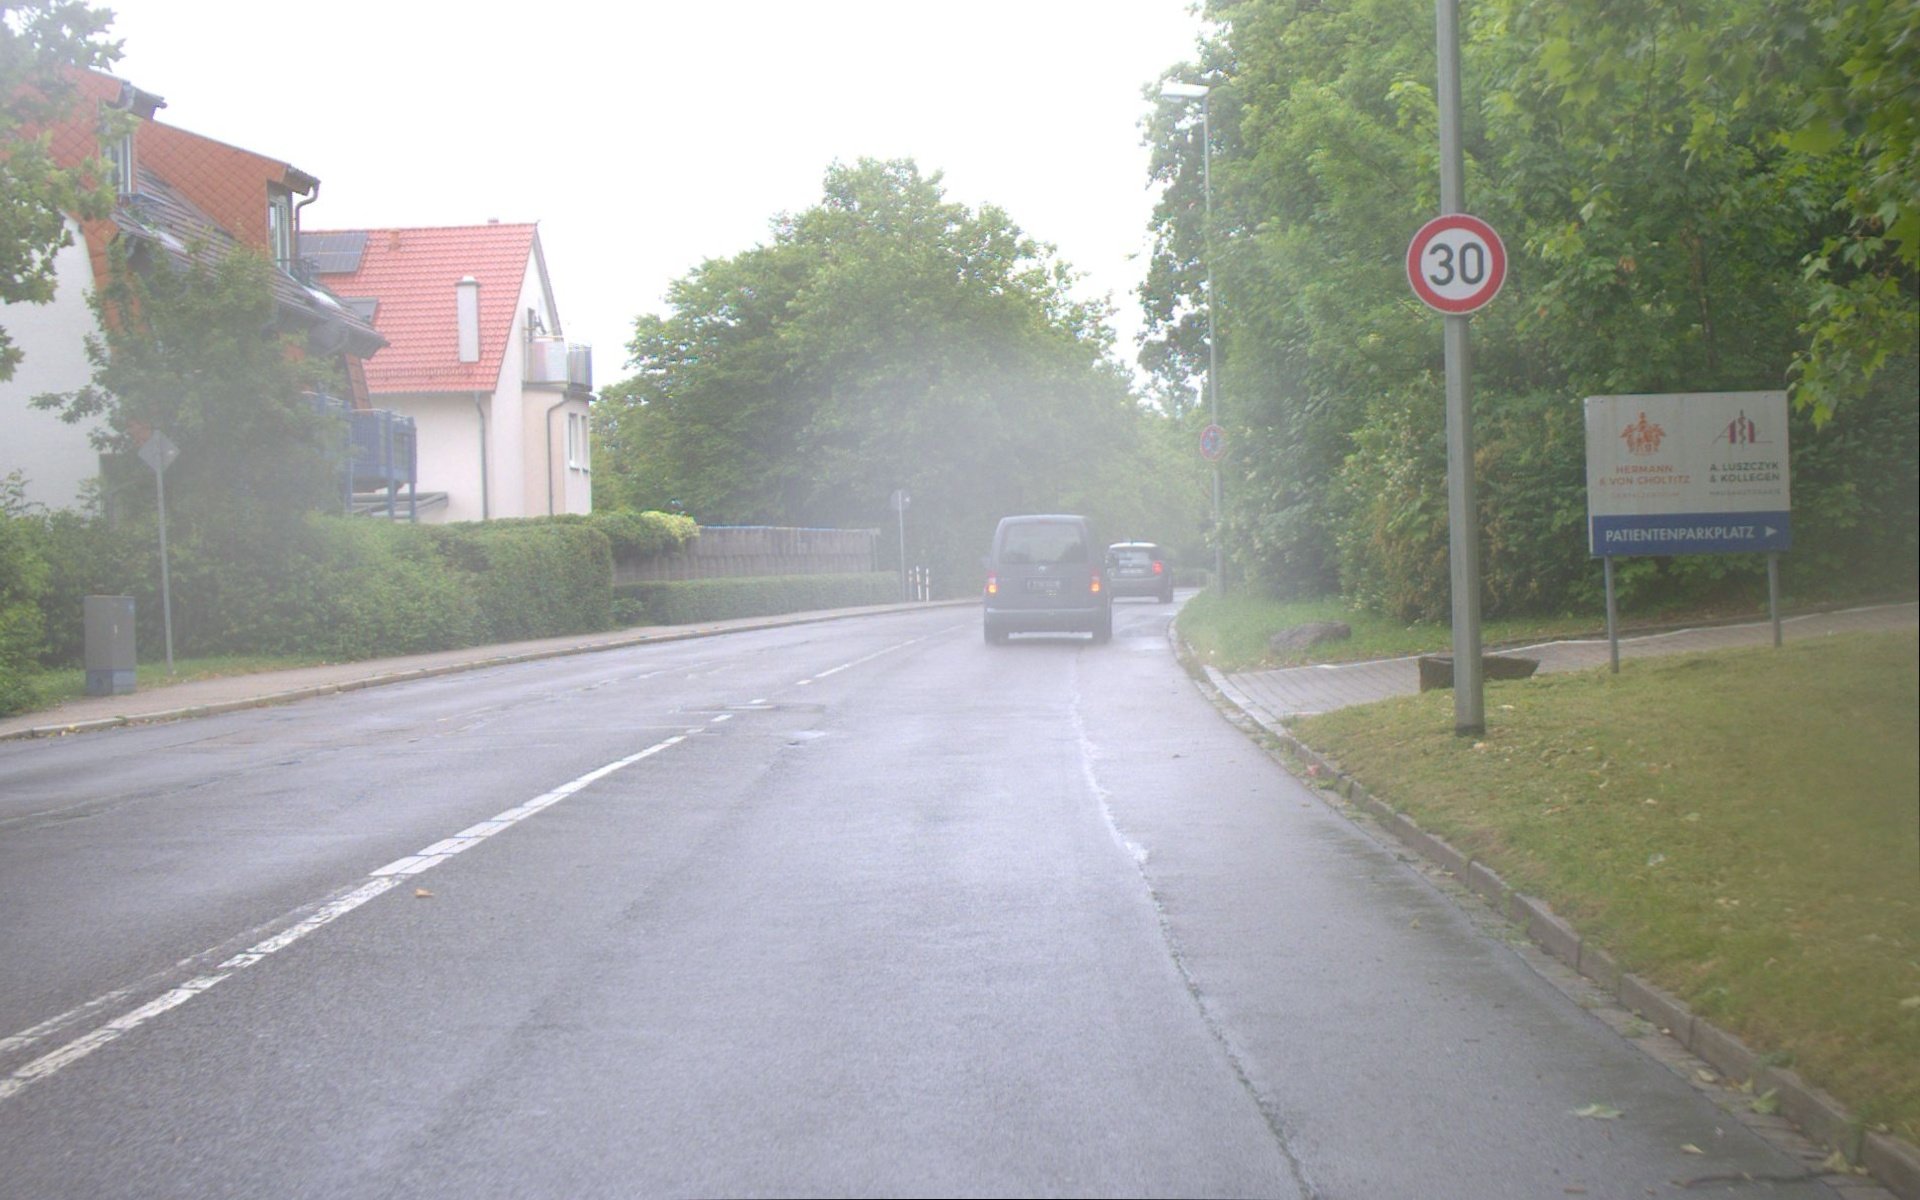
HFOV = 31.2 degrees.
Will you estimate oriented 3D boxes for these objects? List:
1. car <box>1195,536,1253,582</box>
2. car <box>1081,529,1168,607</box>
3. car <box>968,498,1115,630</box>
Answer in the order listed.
[{"bbox_3d":[10.334,-1.617,134.743,1.993,1.744,4.000,1,1,1],"label":"car"},{"bbox_3d":[4.008,-0.798,83.250,1.950,1.744,4.000,-2,2,4],"label":"car"},{"bbox_3d":[1.128,-0.554,49.542,1.993,1.787,4.000,1,2,0],"label":"car"}]
